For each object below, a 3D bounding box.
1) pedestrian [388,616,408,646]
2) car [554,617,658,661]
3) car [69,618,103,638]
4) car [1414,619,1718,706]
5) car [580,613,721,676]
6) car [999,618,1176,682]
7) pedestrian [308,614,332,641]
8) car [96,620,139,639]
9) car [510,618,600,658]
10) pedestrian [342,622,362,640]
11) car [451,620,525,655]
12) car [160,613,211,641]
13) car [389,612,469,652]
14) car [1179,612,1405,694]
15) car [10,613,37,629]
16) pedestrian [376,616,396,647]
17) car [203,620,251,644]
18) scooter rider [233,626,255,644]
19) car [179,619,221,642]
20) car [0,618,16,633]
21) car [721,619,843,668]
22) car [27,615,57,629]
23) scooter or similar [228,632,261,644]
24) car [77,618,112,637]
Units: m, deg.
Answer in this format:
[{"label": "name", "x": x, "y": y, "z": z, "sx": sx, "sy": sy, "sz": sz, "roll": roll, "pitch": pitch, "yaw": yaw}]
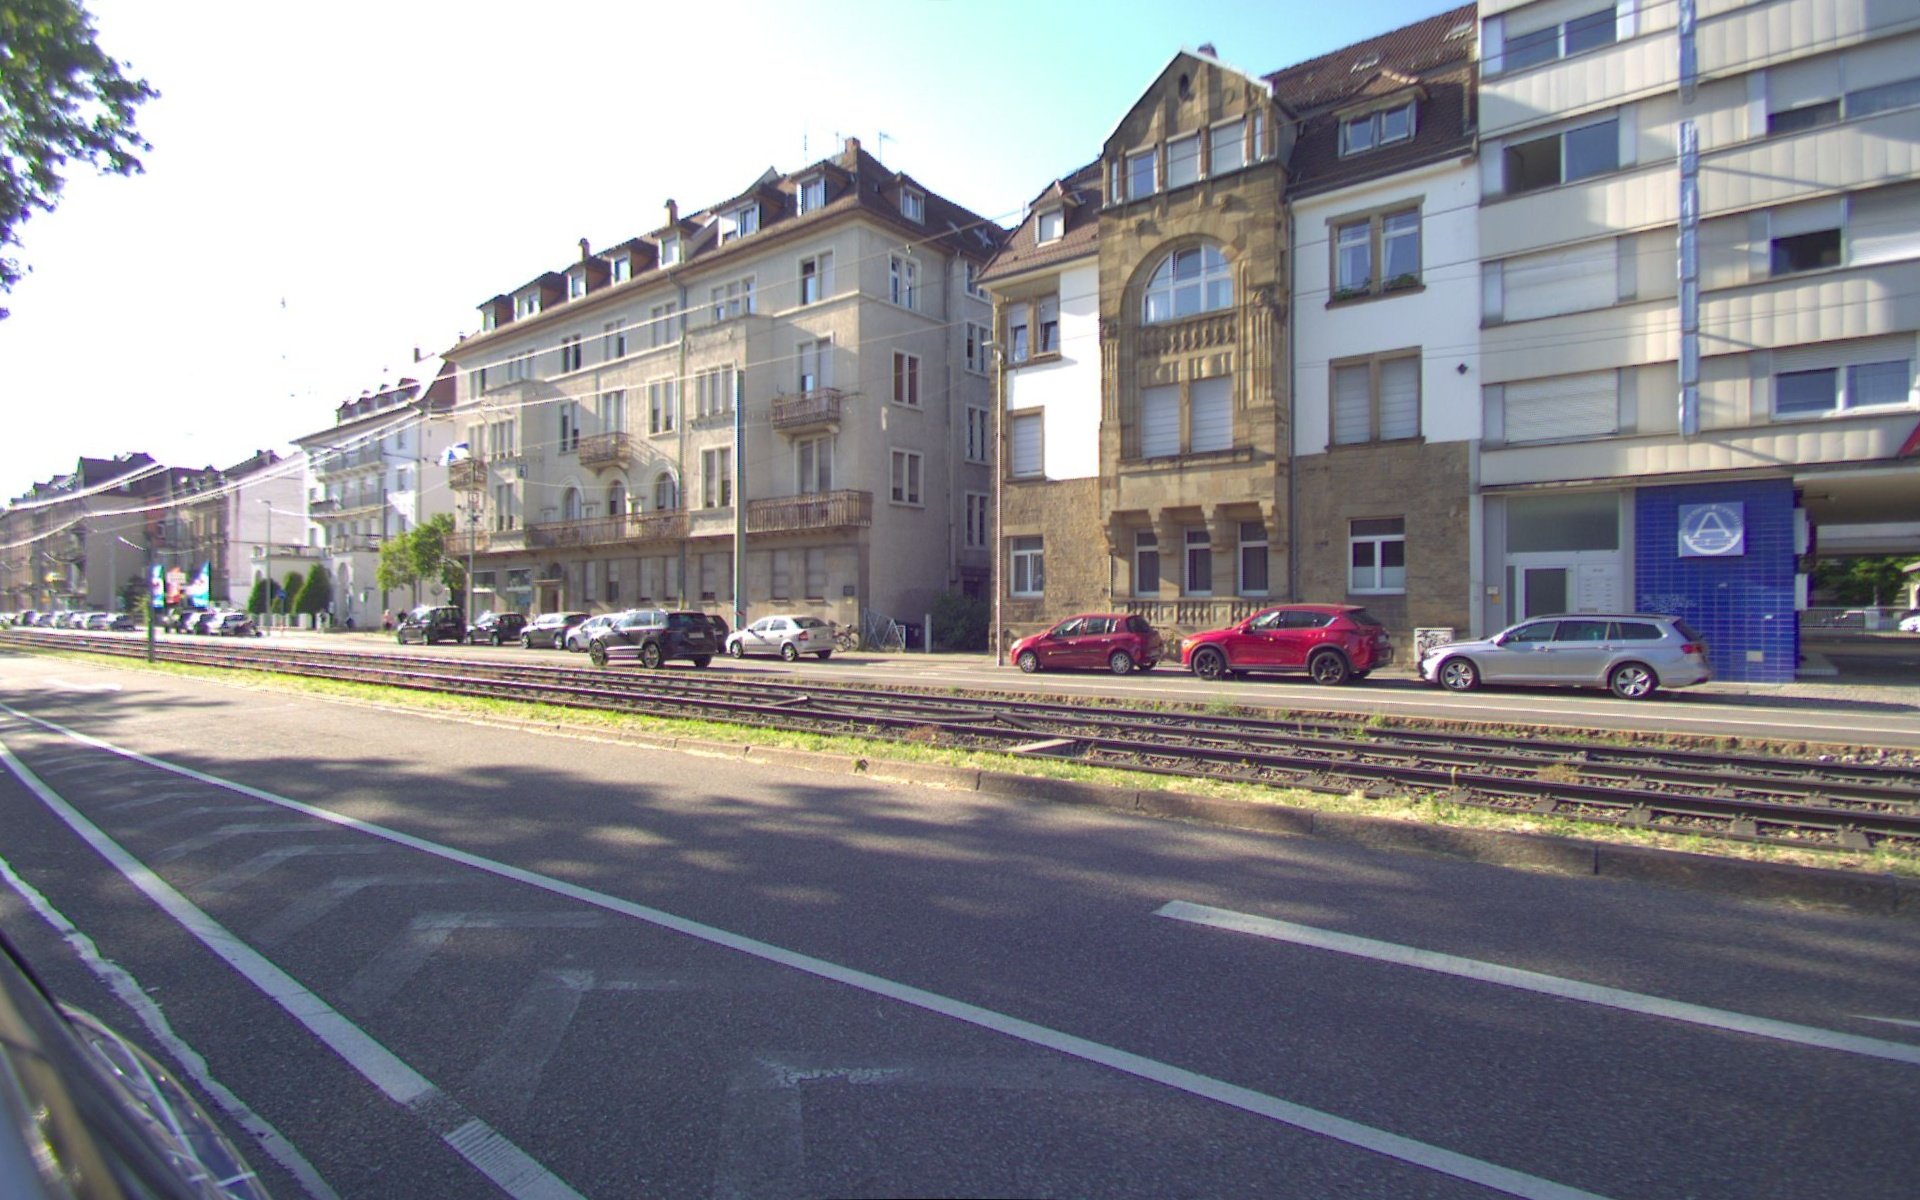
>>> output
[{"label": "pedestrian", "x": -32.766, "y": 1.787, "z": 59.029, "sx": 0.844, "sy": 1.709, "sz": 0.592, "roll": -1, "pitch": 1, "yaw": -8}, {"label": "car", "x": -13.609, "y": 1.490, "z": 38.888, "sx": 3.971, "sy": 1.479, "sz": 1.623, "roll": -1, "pitch": 4, "yaw": 33}, {"label": "car", "x": -85.809, "y": 2.694, "z": 99.326, "sx": 4.841, "sy": 1.572, "sz": 1.901, "roll": 1, "pitch": 5, "yaw": 42}, {"label": "car", "x": 11.208, "y": 1.074, "z": 18.919, "sx": 4.677, "sy": 1.401, "sz": 1.815, "roll": -1, "pitch": 0, "yaw": 39}, {"label": "car", "x": -8.602, "y": 1.192, "z": 27.981, "sx": 4.153, "sy": 1.614, "sz": 1.620, "roll": -1, "pitch": -2, "yaw": 38}, {"label": "car", "x": 3.181, "y": 1.199, "z": 25.522, "sx": 4.026, "sy": 1.401, "sz": 1.818, "roll": -1, "pitch": 2, "yaw": 35}, {"label": "pedestrian", "x": -43.271, "y": 1.843, "z": 68.400, "sx": 0.930, "sy": 1.791, "sz": 0.986, "roll": 0, "pitch": 1, "yaw": 25}, {"label": "car", "x": -74.556, "y": 2.633, "z": 89.535, "sx": 4.835, "sy": 1.471, "sz": 1.903, "roll": -1, "pitch": 4, "yaw": 38}, {"label": "car", "x": -16.951, "y": 1.559, "z": 42.298, "sx": 4.154, "sy": 1.480, "sz": 1.619, "roll": -1, "pitch": 2, "yaw": 39}, {"label": "pedestrian", "x": -42.184, "y": 2.143, "z": 70.240, "sx": 0.892, "sy": 1.196, "sz": 0.870, "roll": 0, "pitch": 1, "yaw": 32}, {"label": "car", "x": -21.390, "y": 1.676, "z": 45.849, "sx": 3.504, "sy": 1.401, "sz": 1.612, "roll": -1, "pitch": 2, "yaw": 38}, {"label": "car", "x": -59.296, "y": 2.019, "z": 77.417, "sx": 5.589, "sy": 2.025, "sz": 2.055, "roll": -1, "pitch": 1, "yaw": 42}, {"label": "car", "x": -25.993, "y": 1.544, "z": 49.473, "sx": 4.396, "sy": 1.800, "sz": 1.844, "roll": -2, "pitch": 0, "yaw": 39}, {"label": "car", "x": 7.180, "y": 1.071, "z": 22.143, "sx": 4.350, "sy": 1.570, "sz": 1.815, "roll": 0, "pitch": 0, "yaw": 41}, {"label": "car", "x": -109.732, "y": 2.495, "z": 118.578, "sx": 4.722, "sy": 1.821, "sz": 1.644, "roll": -1, "pitch": 0, "yaw": 38}, {"label": "pedestrian", "x": -33.089, "y": 1.805, "z": 58.330, "sx": 0.844, "sy": 1.709, "sz": 0.592, "roll": -1, "pitch": 1, "yaw": -8}, {"label": "car", "x": -50.505, "y": 2.165, "z": 69.708, "sx": 3.998, "sy": 1.521, "sz": 1.776, "roll": 0, "pitch": 1, "yaw": 41}, {"label": "scooter rider", "x": -45.782, "y": 2.245, "z": 64.735, "sx": 0.962, "sy": 1.097, "sz": 0.810, "roll": 1, "pitch": -2, "yaw": -19}, {"label": "car", "x": -54.766, "y": 2.187, "z": 72.880, "sx": 4.157, "sy": 1.518, "sz": 1.618, "roll": 0, "pitch": 1, "yaw": 42}, {"label": "car", "x": -121.064, "y": 3.278, "z": 128.059, "sx": 3.994, "sy": 1.821, "sz": 1.777, "roll": -1, "pitch": 0, "yaw": 38}, {"label": "car", "x": -5.872, "y": 1.387, "z": 33.096, "sx": 4.155, "sy": 1.480, "sz": 1.619, "roll": -2, "pitch": -1, "yaw": 40}, {"label": "car", "x": -104.478, "y": 2.455, "z": 115.212, "sx": 4.623, "sy": 1.550, "sz": 1.901, "roll": -1, "pitch": 0, "yaw": 40}, {"label": "scooter or similar", "x": -45.745, "y": 2.448, "z": 64.745, "sx": 1.542, "sy": 0.776, "sz": 0.810, "roll": 1, "pitch": -2, "yaw": -19}, {"label": "car", "x": -81.717, "y": 2.578, "z": 95.501, "sx": 4.840, "sy": 1.707, "sz": 1.900, "roll": -1, "pitch": 0, "yaw": 42}]
